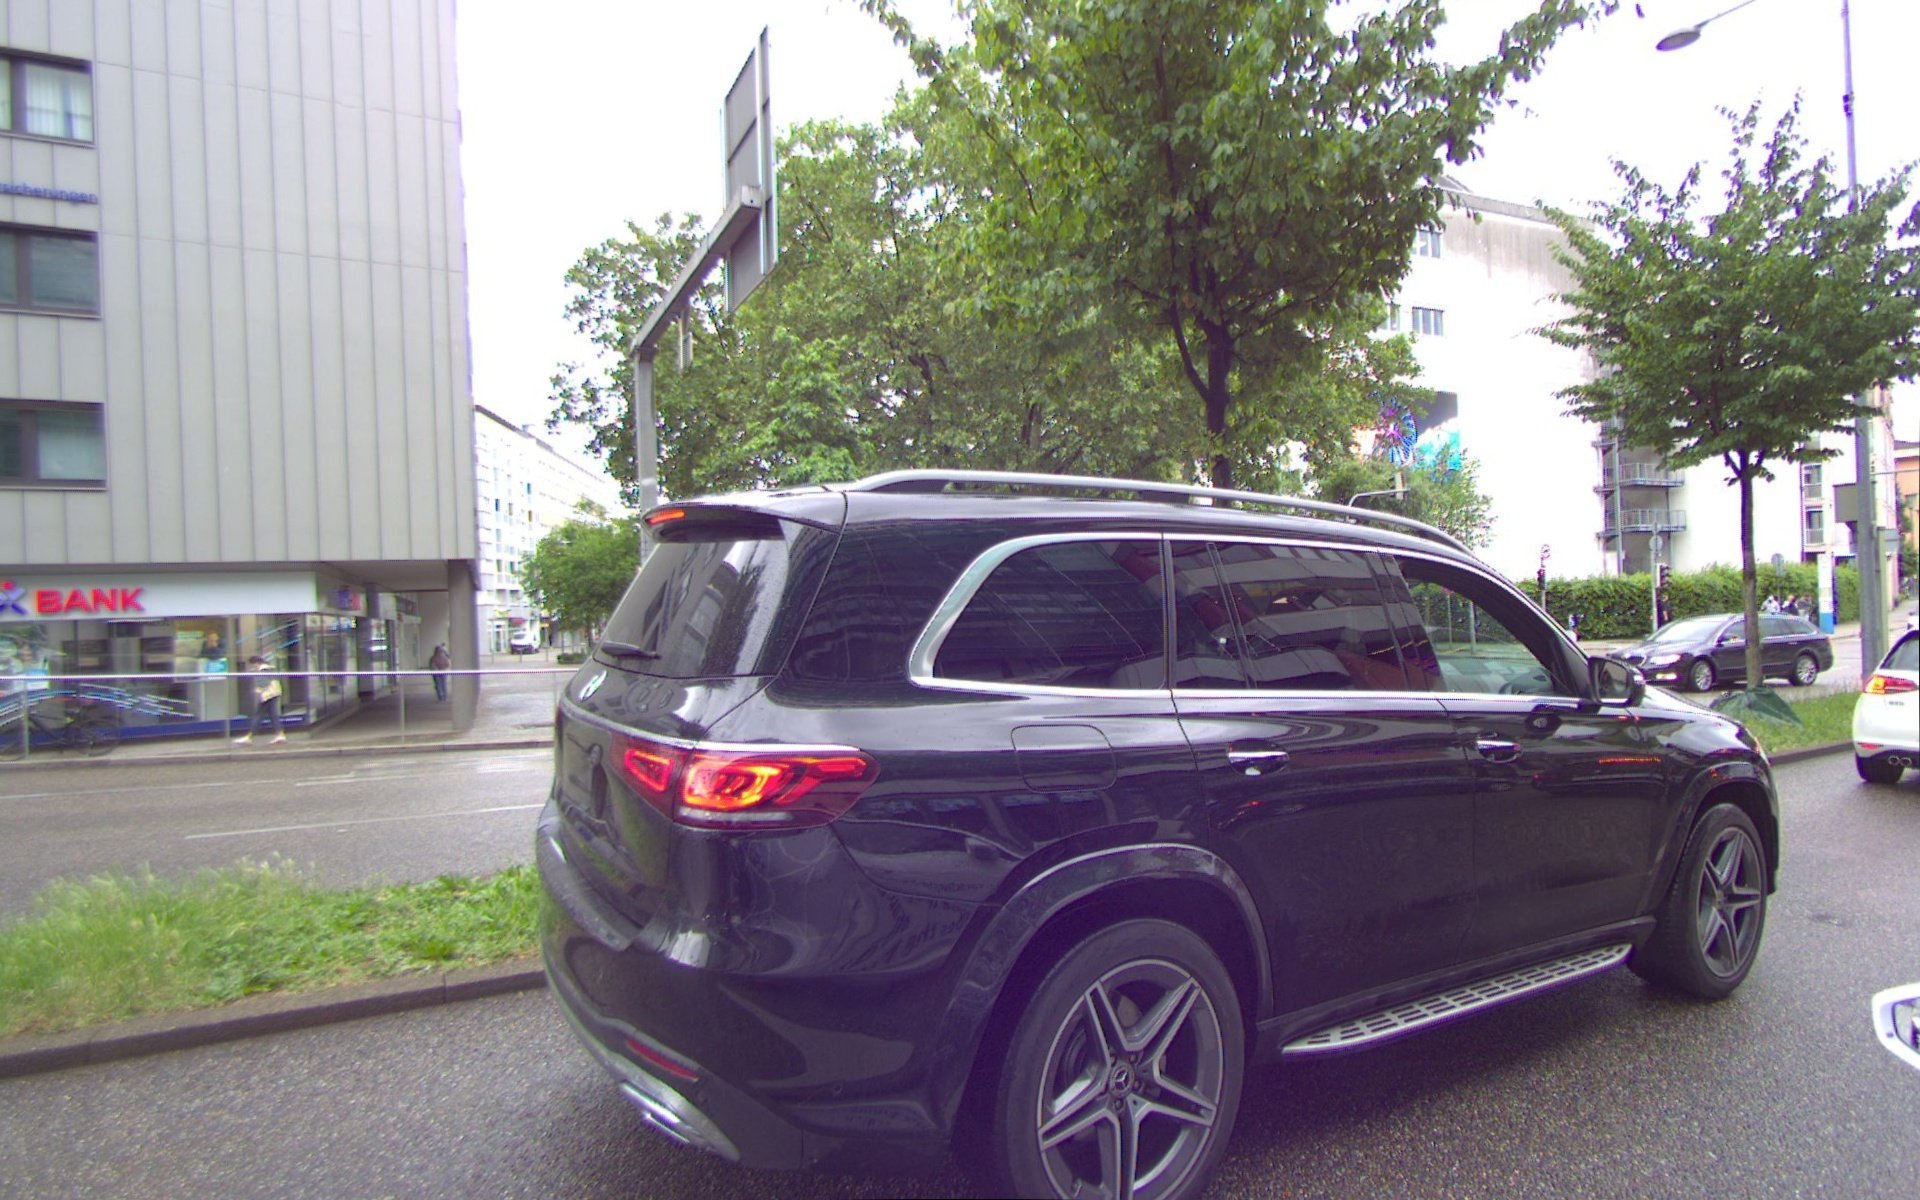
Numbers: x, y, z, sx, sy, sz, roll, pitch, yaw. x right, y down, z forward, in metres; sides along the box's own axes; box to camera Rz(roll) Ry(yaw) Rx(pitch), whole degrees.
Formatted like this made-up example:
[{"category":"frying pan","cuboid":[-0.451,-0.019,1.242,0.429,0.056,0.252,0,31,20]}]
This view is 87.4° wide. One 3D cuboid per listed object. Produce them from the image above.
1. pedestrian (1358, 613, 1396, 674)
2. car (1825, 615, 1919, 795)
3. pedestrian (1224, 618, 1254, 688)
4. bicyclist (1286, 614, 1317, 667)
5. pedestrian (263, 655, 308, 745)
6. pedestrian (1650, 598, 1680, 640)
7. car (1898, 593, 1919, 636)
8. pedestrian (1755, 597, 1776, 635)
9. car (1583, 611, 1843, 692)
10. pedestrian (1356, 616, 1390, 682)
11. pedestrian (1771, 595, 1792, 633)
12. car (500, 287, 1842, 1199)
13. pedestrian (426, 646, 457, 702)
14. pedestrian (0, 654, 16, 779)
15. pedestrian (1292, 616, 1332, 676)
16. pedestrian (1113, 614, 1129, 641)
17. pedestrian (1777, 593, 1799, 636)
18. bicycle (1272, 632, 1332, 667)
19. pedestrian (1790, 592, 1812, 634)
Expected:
[{"category":"pedestrian","cuboid":[11.892,1.225,28.680,0.620,1.684,0.749,-2,0,-30]},{"category":"car","cuboid":[9.537,0.871,8.943,3.800,1.448,1.768,0,0,-32]},{"category":"pedestrian","cuboid":[6.952,1.315,25.065,0.568,1.684,0.559,-1,0,2]},{"category":"bicyclist","cuboid":[10.146,1.219,29.871,0.602,1.550,0.629,2,-3,-30]},{"category":"pedestrian","cuboid":[-13.141,1.932,19.565,0.630,1.659,0.782,2,-1,-37]},{"category":"pedestrian","cuboid":[28.520,0.759,40.621,0.721,1.664,0.638,2,0,-12]},{"category":"car","cuboid":[34.943,0.501,35.695,3.571,1.506,1.565,0,1,-33]},{"category":"pedestrian","cuboid":[34.884,0.678,43.484,0.522,1.620,0.576,2,-1,-36]},{"category":"car","cuboid":[15.228,1.002,20.365,4.657,1.505,1.634,0,-2,-14]},{"category":"pedestrian","cuboid":[10.835,1.281,26.362,0.572,1.684,0.554,-2,0,-30]},{"category":"pedestrian","cuboid":[36.040,0.617,44.064,0.522,1.620,0.576,2,-1,-36]},{"category":"car","cuboid":[1.134,0.514,3.803,5.016,1.895,1.901,3,-1,-31]},{"category":"pedestrian","cuboid":[-16.426,2.327,31.800,0.719,1.719,0.782,2,-3,-37]},{"category":"pedestrian","cuboid":[-13.124,1.550,13.224,0.779,1.659,0.632,2,0,-22]},{"category":"pedestrian","cuboid":[10.886,1.417,31.110,0.698,1.807,0.922,2,-1,-19]},{"category":"pedestrian","cuboid":[10.080,1.739,63.011,0.723,1.664,0.635,2,0,-23]},{"category":"pedestrian","cuboid":[34.728,0.625,42.114,0.741,1.771,0.535,2,-1,-38]},{"category":"bicycle","cuboid":[10.182,1.471,29.877,1.918,1.013,0.612,2,-3,-31]},{"category":"pedestrian","cuboid":[35.996,0.540,42.993,0.559,1.771,0.535,2,-1,-35]}]
